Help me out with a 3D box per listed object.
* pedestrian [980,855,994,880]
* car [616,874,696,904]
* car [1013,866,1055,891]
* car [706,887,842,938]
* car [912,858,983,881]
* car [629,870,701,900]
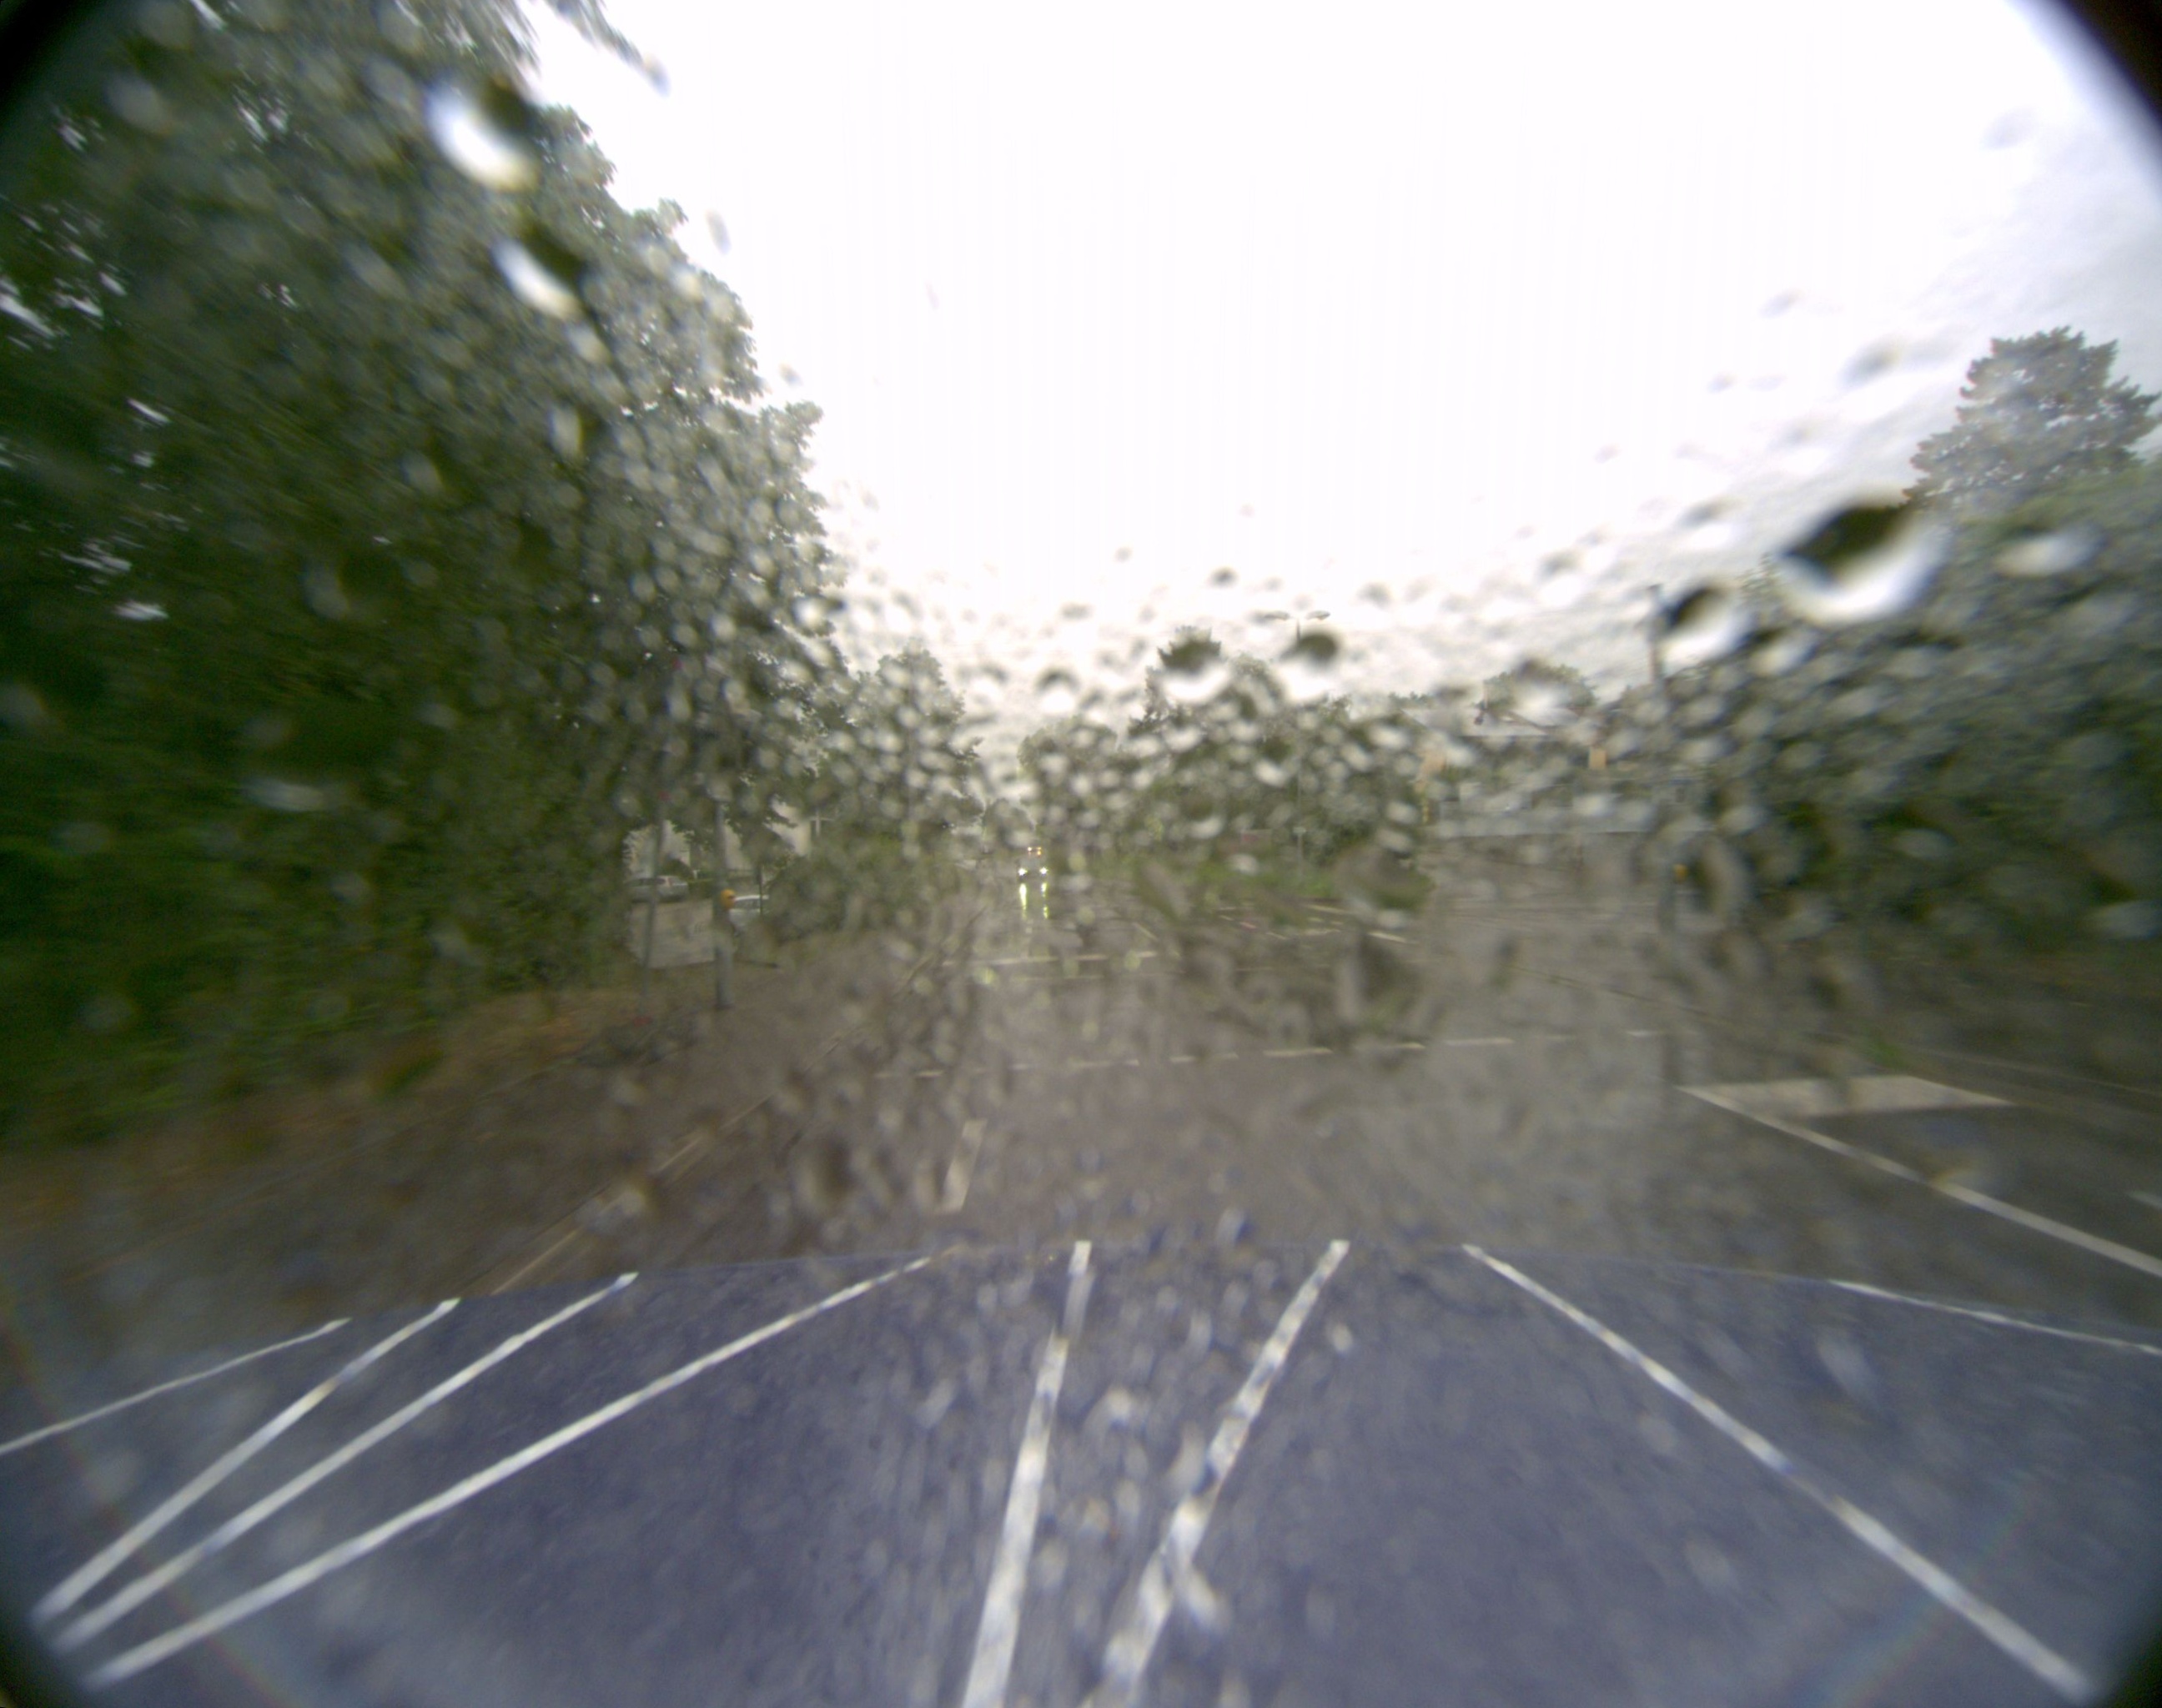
[{"bbox_3d":[-5.619,0.800,45.254,0.771,1.517,0.872,0,0,-4],"label":"pedestrian"},{"bbox_3d":[-23.931,1.971,42.868,3.657,1.401,1.668,-4,0,12],"label":"car"},{"bbox_3d":[-3.279,1.662,51.935,1.801,1.543,3.994,-4,0,-18],"label":"car"},{"bbox_3d":[-10.961,2.075,27.377,3.998,1.419,1.999,-3,2,-3],"label":"car"},{"bbox_3d":[-9.544,1.083,54.623,4.810,1.406,1.807,-2,1,-4],"label":"car"},{"bbox_3d":[-29.078,2.145,53.184,3.995,1.740,1.764,-3,2,5],"label":"car"}]
